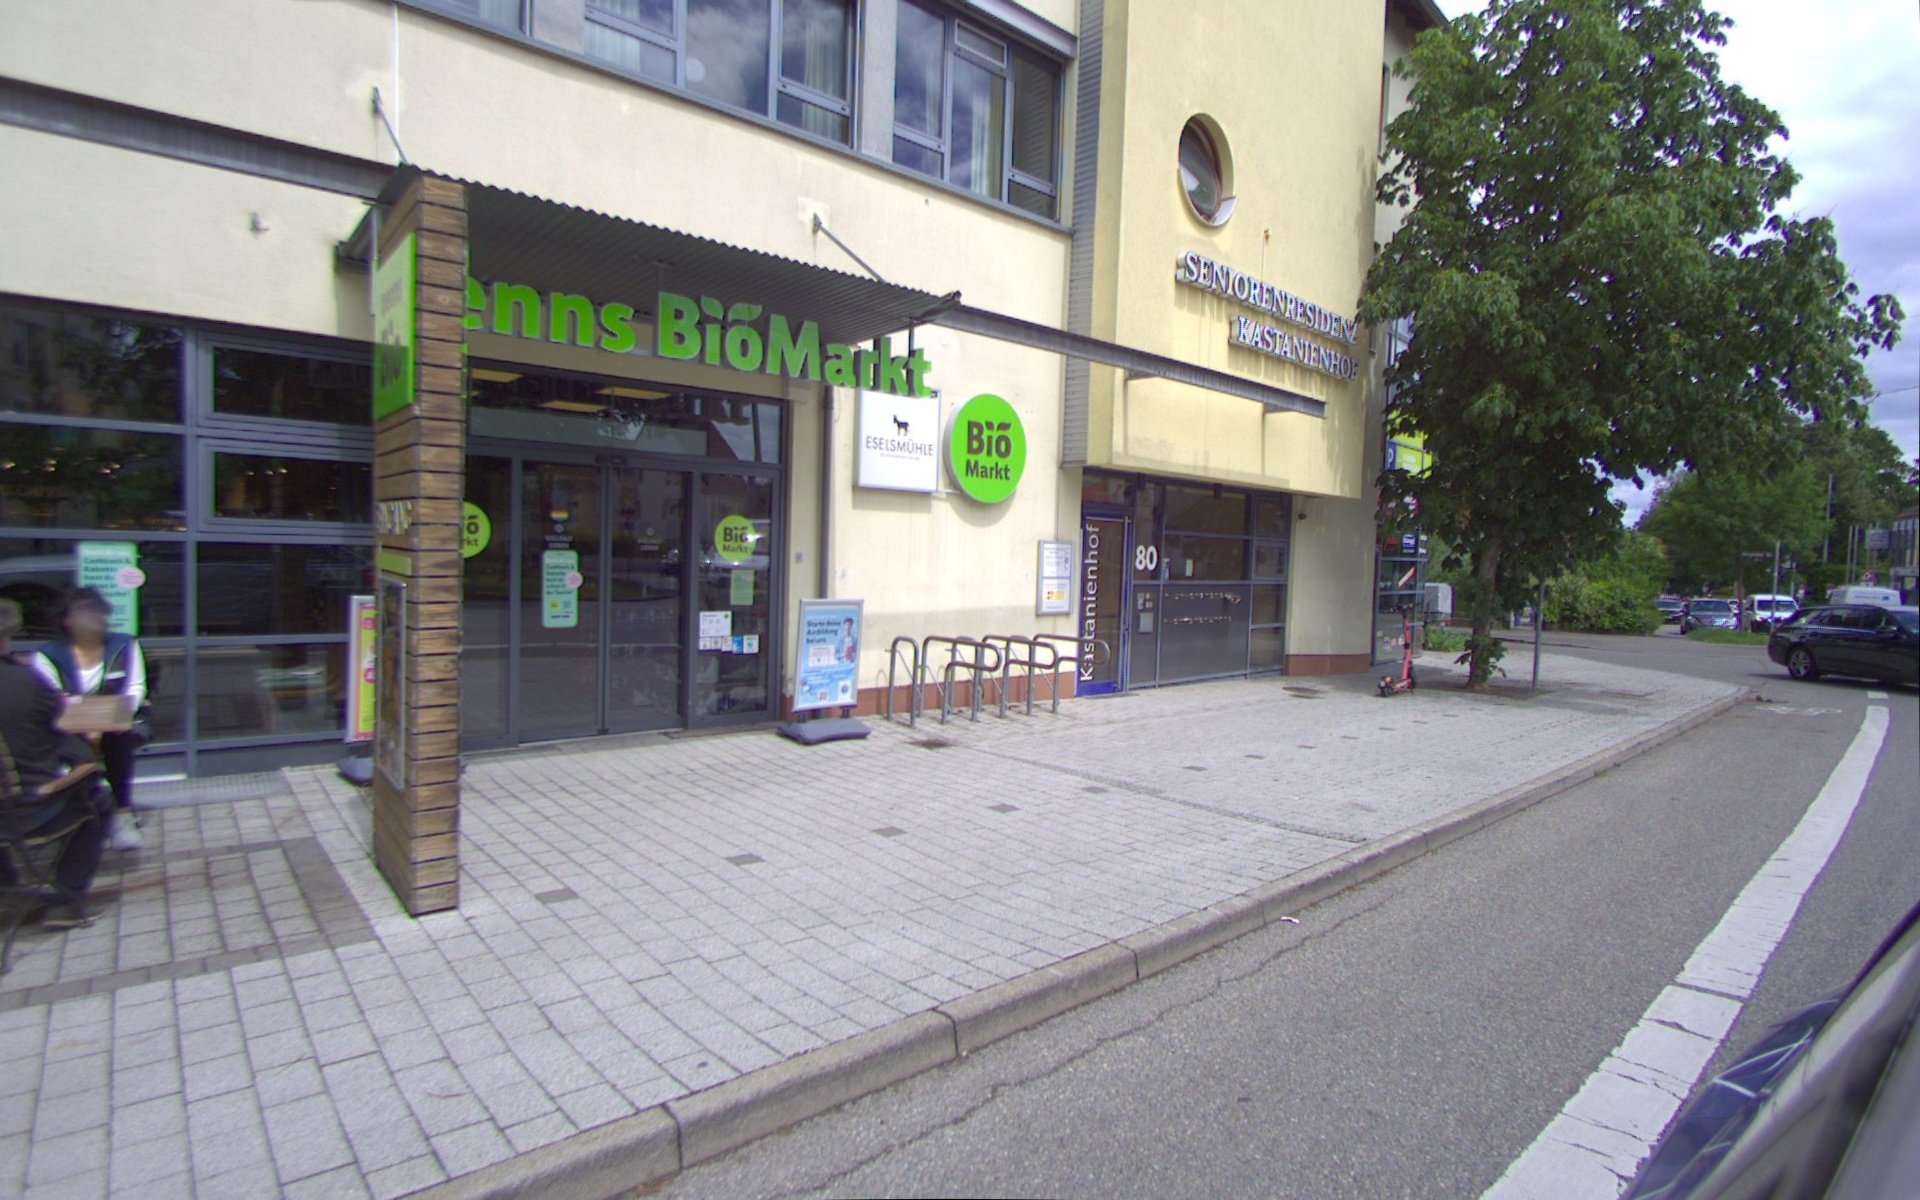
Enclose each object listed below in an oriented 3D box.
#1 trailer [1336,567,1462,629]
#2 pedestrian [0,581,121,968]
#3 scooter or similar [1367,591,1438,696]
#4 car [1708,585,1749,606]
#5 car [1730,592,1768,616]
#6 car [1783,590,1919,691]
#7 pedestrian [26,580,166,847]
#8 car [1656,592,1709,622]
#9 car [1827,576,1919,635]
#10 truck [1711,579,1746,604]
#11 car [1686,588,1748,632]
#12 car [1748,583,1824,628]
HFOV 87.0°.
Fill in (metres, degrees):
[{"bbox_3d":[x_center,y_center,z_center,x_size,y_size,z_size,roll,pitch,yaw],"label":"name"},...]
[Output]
[{"bbox_3d":[13.331,-0.078,30.824,3.162,1.601,1.371,6,4,45],"label":"trailer"},{"bbox_3d":[-3.602,0.605,3.771,0.566,1.332,0.692,0,2,-26],"label":"pedestrian"},{"bbox_3d":[6.055,0.563,13.825,0.381,1.332,1.436,2,3,44],"label":"scooter or similar"},{"bbox_3d":[64.154,-0.365,84.559,1.819,1.541,4.135,3,3,25],"label":"car"},{"bbox_3d":[60.152,0.304,77.232,1.681,1.598,3.761,3,3,30],"label":"car"},{"bbox_3d":[16.767,0.660,17.322,1.778,1.649,4.681,-1,0,4],"label":"car"},{"bbox_3d":[-4.296,0.518,5.039,0.494,1.218,0.578,-1,2,-42],"label":"pedestrian"},{"bbox_3d":[41.576,0.343,58.341,1.975,1.465,4.701,4,3,30],"label":"car"},{"bbox_3d":[41.704,0.211,46.295,2.054,2.381,5.126,6,4,31],"label":"car"},{"bbox_3d":[83.087,-0.962,109.488,2.296,2.449,6.026,2,3,32],"label":"truck"},{"bbox_3d":[31.888,0.399,42.735,1.683,1.687,4.410,4,2,32],"label":"car"},{"bbox_3d":[36.788,0.195,45.169,1.951,1.829,4.382,1,2,31],"label":"car"}]
